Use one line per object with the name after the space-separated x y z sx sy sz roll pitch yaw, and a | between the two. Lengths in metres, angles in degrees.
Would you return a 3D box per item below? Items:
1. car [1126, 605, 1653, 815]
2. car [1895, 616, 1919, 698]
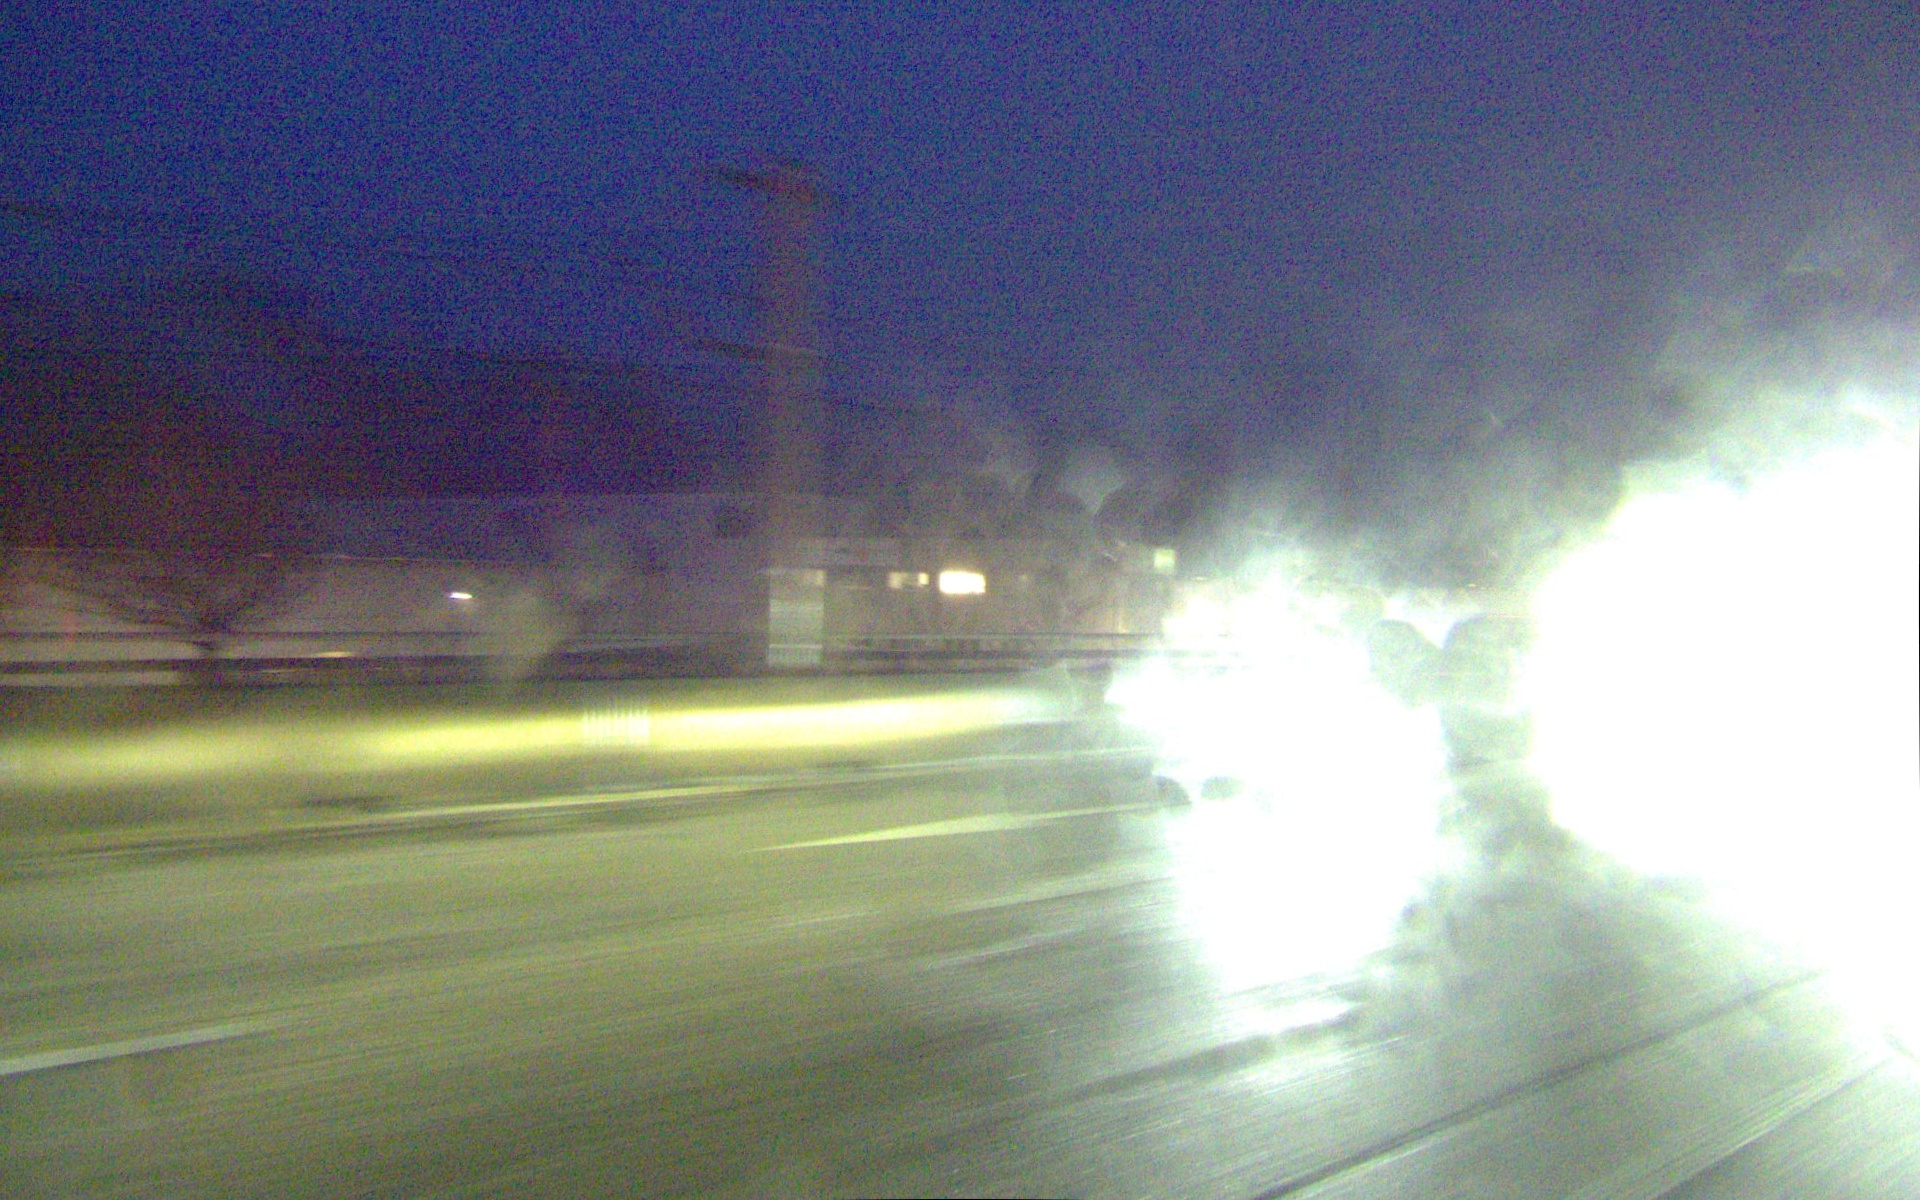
4.126 0.842 9.399 4.935 1.469 2.066 1 0 -32 | car
19.542 1.084 18.763 4.494 1.463 1.908 1 0 -32 | car
